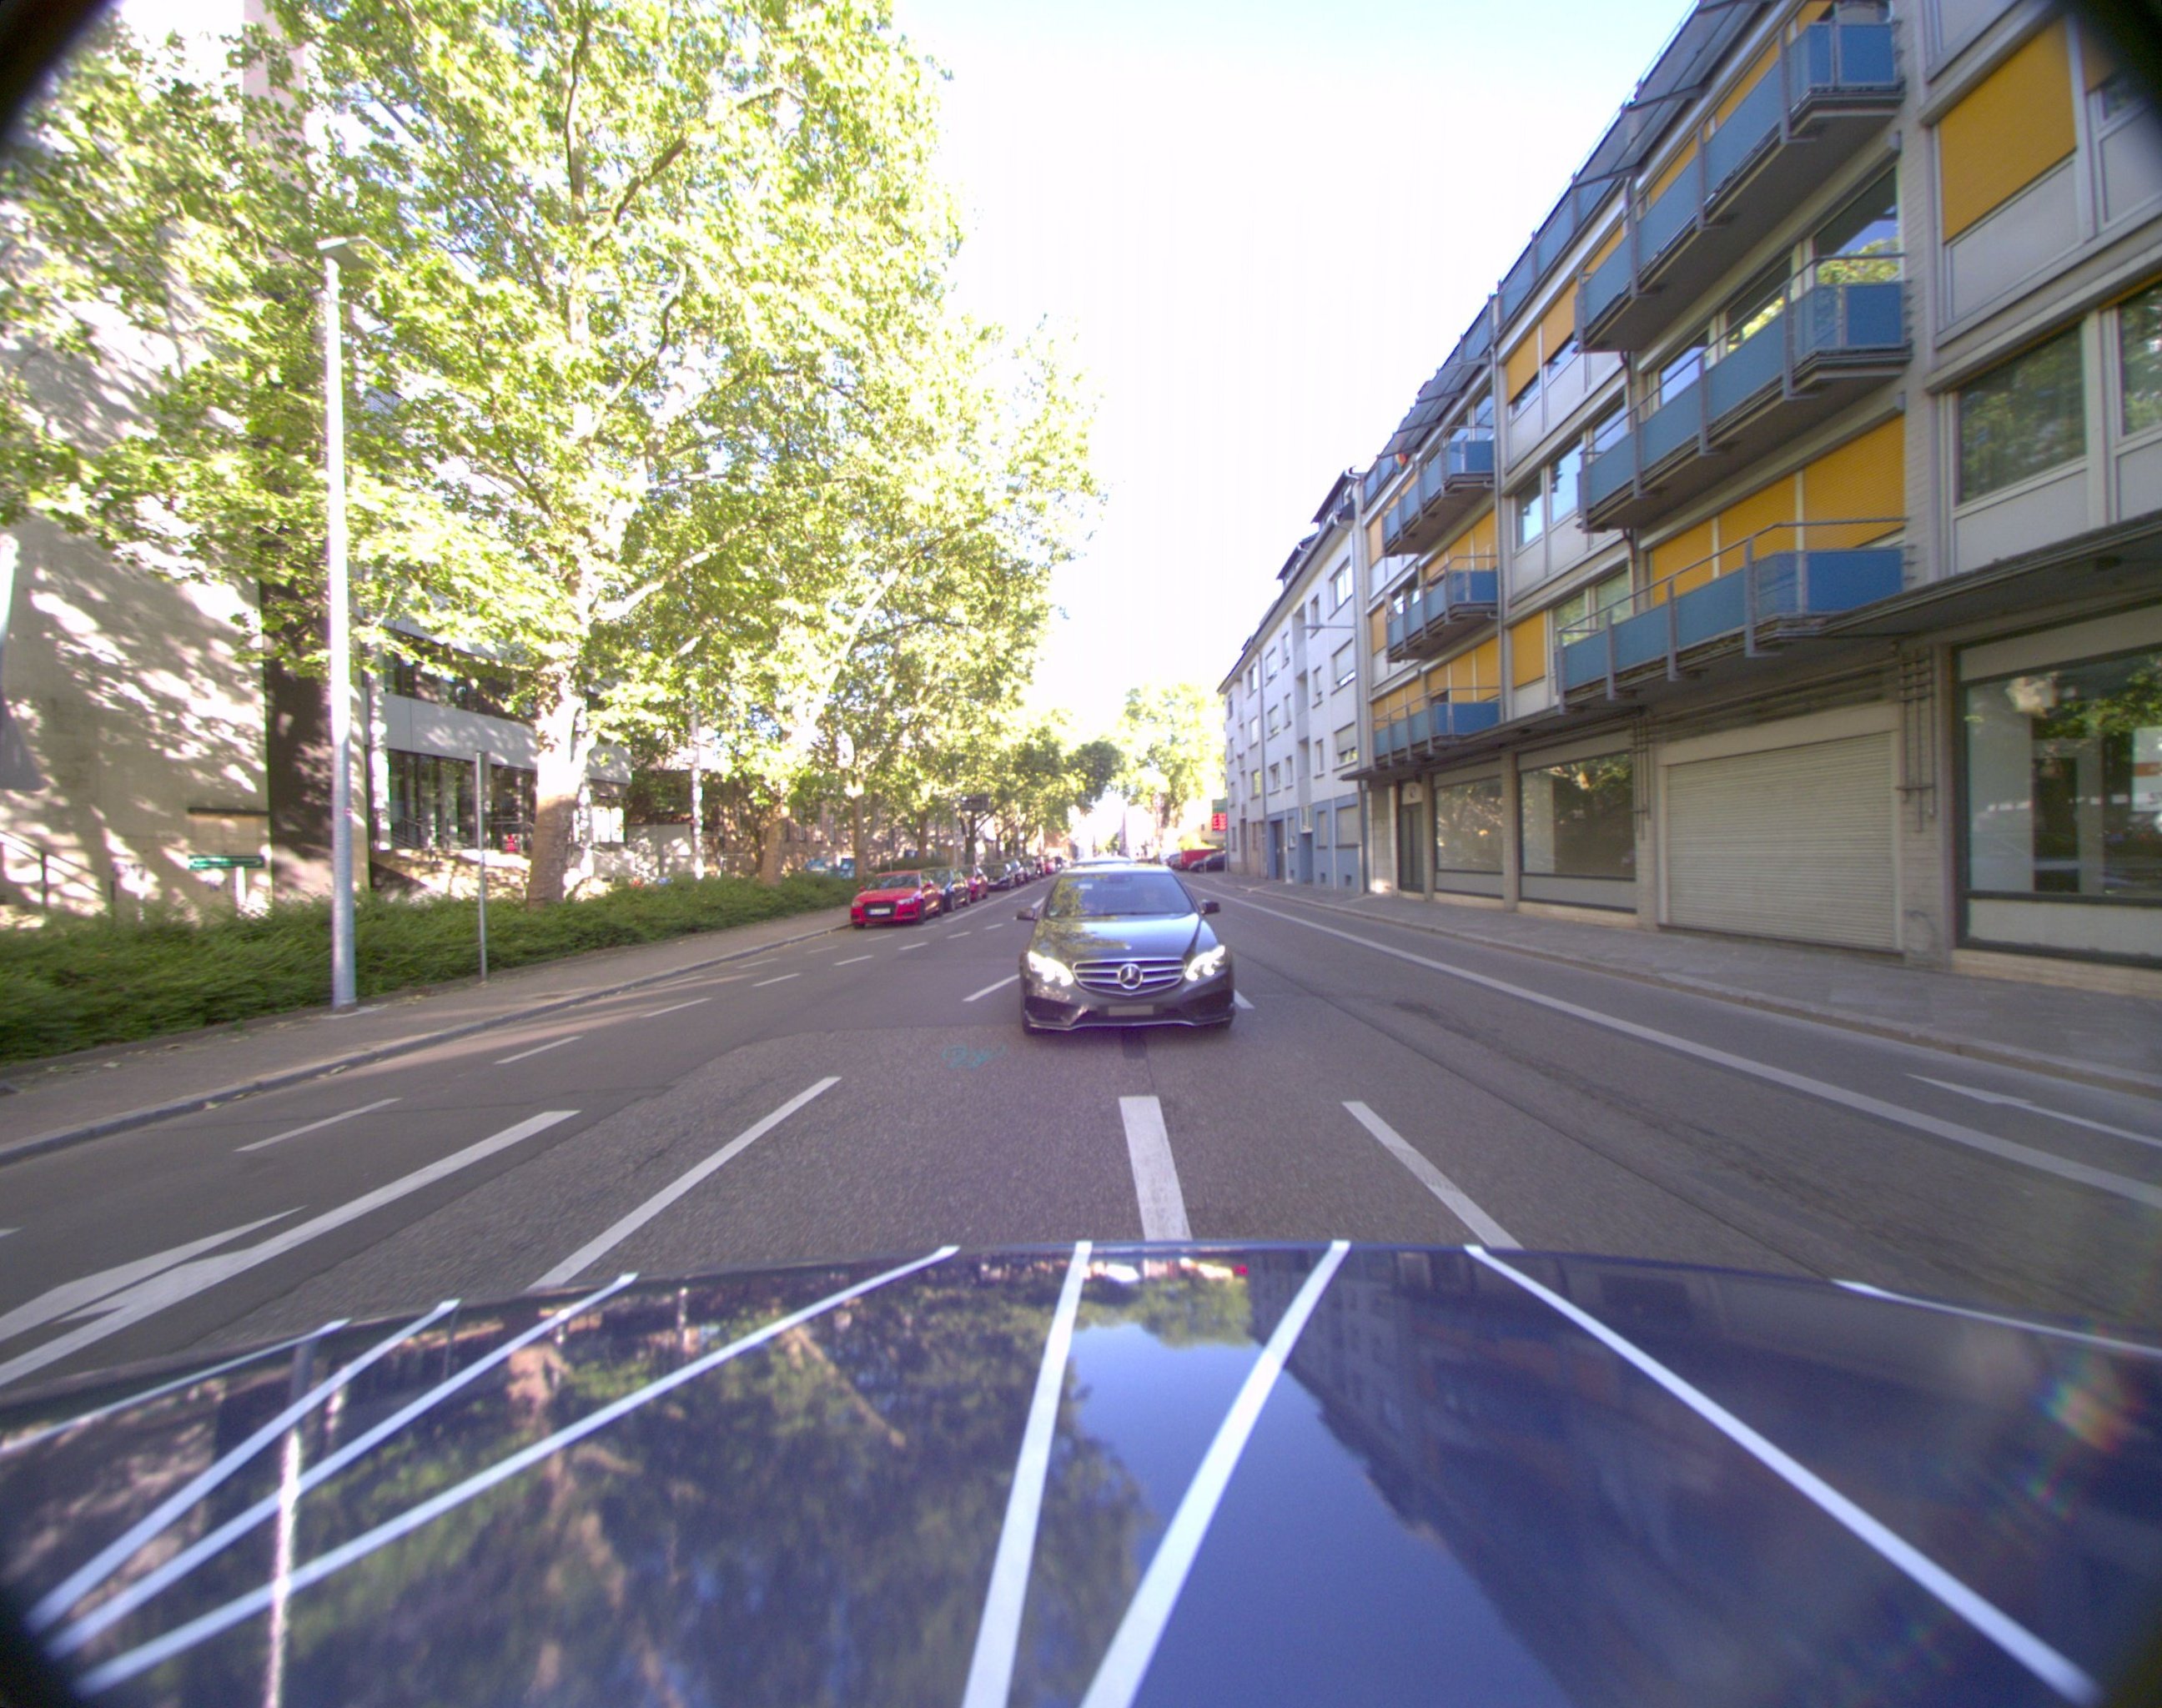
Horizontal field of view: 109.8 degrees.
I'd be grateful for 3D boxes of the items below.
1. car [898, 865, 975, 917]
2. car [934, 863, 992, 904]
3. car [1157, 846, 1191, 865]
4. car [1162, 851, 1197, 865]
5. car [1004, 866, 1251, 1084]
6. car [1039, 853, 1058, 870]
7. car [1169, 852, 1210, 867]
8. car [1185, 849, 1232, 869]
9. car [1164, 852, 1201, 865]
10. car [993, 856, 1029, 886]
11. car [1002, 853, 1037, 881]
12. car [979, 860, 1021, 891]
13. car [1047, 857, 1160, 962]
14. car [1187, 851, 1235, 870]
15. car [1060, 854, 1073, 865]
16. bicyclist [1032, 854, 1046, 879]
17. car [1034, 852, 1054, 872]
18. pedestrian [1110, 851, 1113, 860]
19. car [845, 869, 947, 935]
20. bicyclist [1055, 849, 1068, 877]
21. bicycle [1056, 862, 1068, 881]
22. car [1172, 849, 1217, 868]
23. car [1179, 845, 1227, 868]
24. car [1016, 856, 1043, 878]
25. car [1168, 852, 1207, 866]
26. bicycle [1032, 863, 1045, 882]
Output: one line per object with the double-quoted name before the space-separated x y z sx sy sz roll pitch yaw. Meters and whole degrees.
"car" -4.752 1.171 25.515 1.686 1.458 4.000 -3 0 1
"car" -4.702 1.145 30.700 1.666 1.426 3.781 -2 0 1
"car" 11.267 0.135 92.267 3.905 2.164 1.725 -2 1 3
"car" 11.367 0.435 87.772 3.782 1.432 1.539 -2 1 3
"car" 0.370 0.959 7.953 1.828 1.495 4.294 -2 1 0
"car" -3.350 0.766 79.107 1.686 1.749 3.836 -2 0 1
"car" 11.109 0.538 77.923 3.905 1.366 1.594 -2 1 3
"car" 10.739 0.421 64.095 3.668 1.501 1.602 -2 1 3
"car" 11.331 0.498 85.087 3.905 1.325 1.525 -2 1 3
"car" -4.098 0.982 45.156 1.686 1.610 3.836 -2 0 1
"car" -4.100 0.856 51.283 1.819 1.758 4.431 -2 0 1
"car" -4.269 1.114 40.498 1.686 1.442 4.000 -2 0 1
"car" 0.364 0.894 14.229 1.732 1.538 4.294 -2 1 0
"car" 10.548 0.517 61.691 3.598 1.401 1.534 -2 0 3
"car" -2.099 0.829 109.910 1.686 1.475 3.836 -2 0 1
"bicyclist" -2.637 0.794 47.409 0.756 1.512 0.768 -2 1 0
"car" -3.557 0.710 73.318 1.646 1.839 3.836 -2 0 1
"pedestrian" 7.733 0.354 192.678 0.884 2.108 0.821 -2 1 1
"car" -4.914 1.224 20.757 1.724 1.412 4.031 -4 0 0
"bicyclist" -1.247 0.571 48.093 0.756 1.714 0.768 -2 1 0
"bicycle" -1.220 1.109 48.086 0.667 1.093 1.814 -2 1 0
"car" 10.377 0.405 69.738 3.905 1.577 1.604 -2 1 3
"car" 10.710 0.234 66.940 3.905 1.895 1.749 -2 0 3
"car" -3.873 0.970 57.605 1.686 1.552 3.868 -2 0 1
"car" 11.159 0.518 79.945 3.905 1.366 1.594 -2 1 3
"bicycle" -2.624 1.164 47.397 0.667 1.093 1.814 -2 1 0
